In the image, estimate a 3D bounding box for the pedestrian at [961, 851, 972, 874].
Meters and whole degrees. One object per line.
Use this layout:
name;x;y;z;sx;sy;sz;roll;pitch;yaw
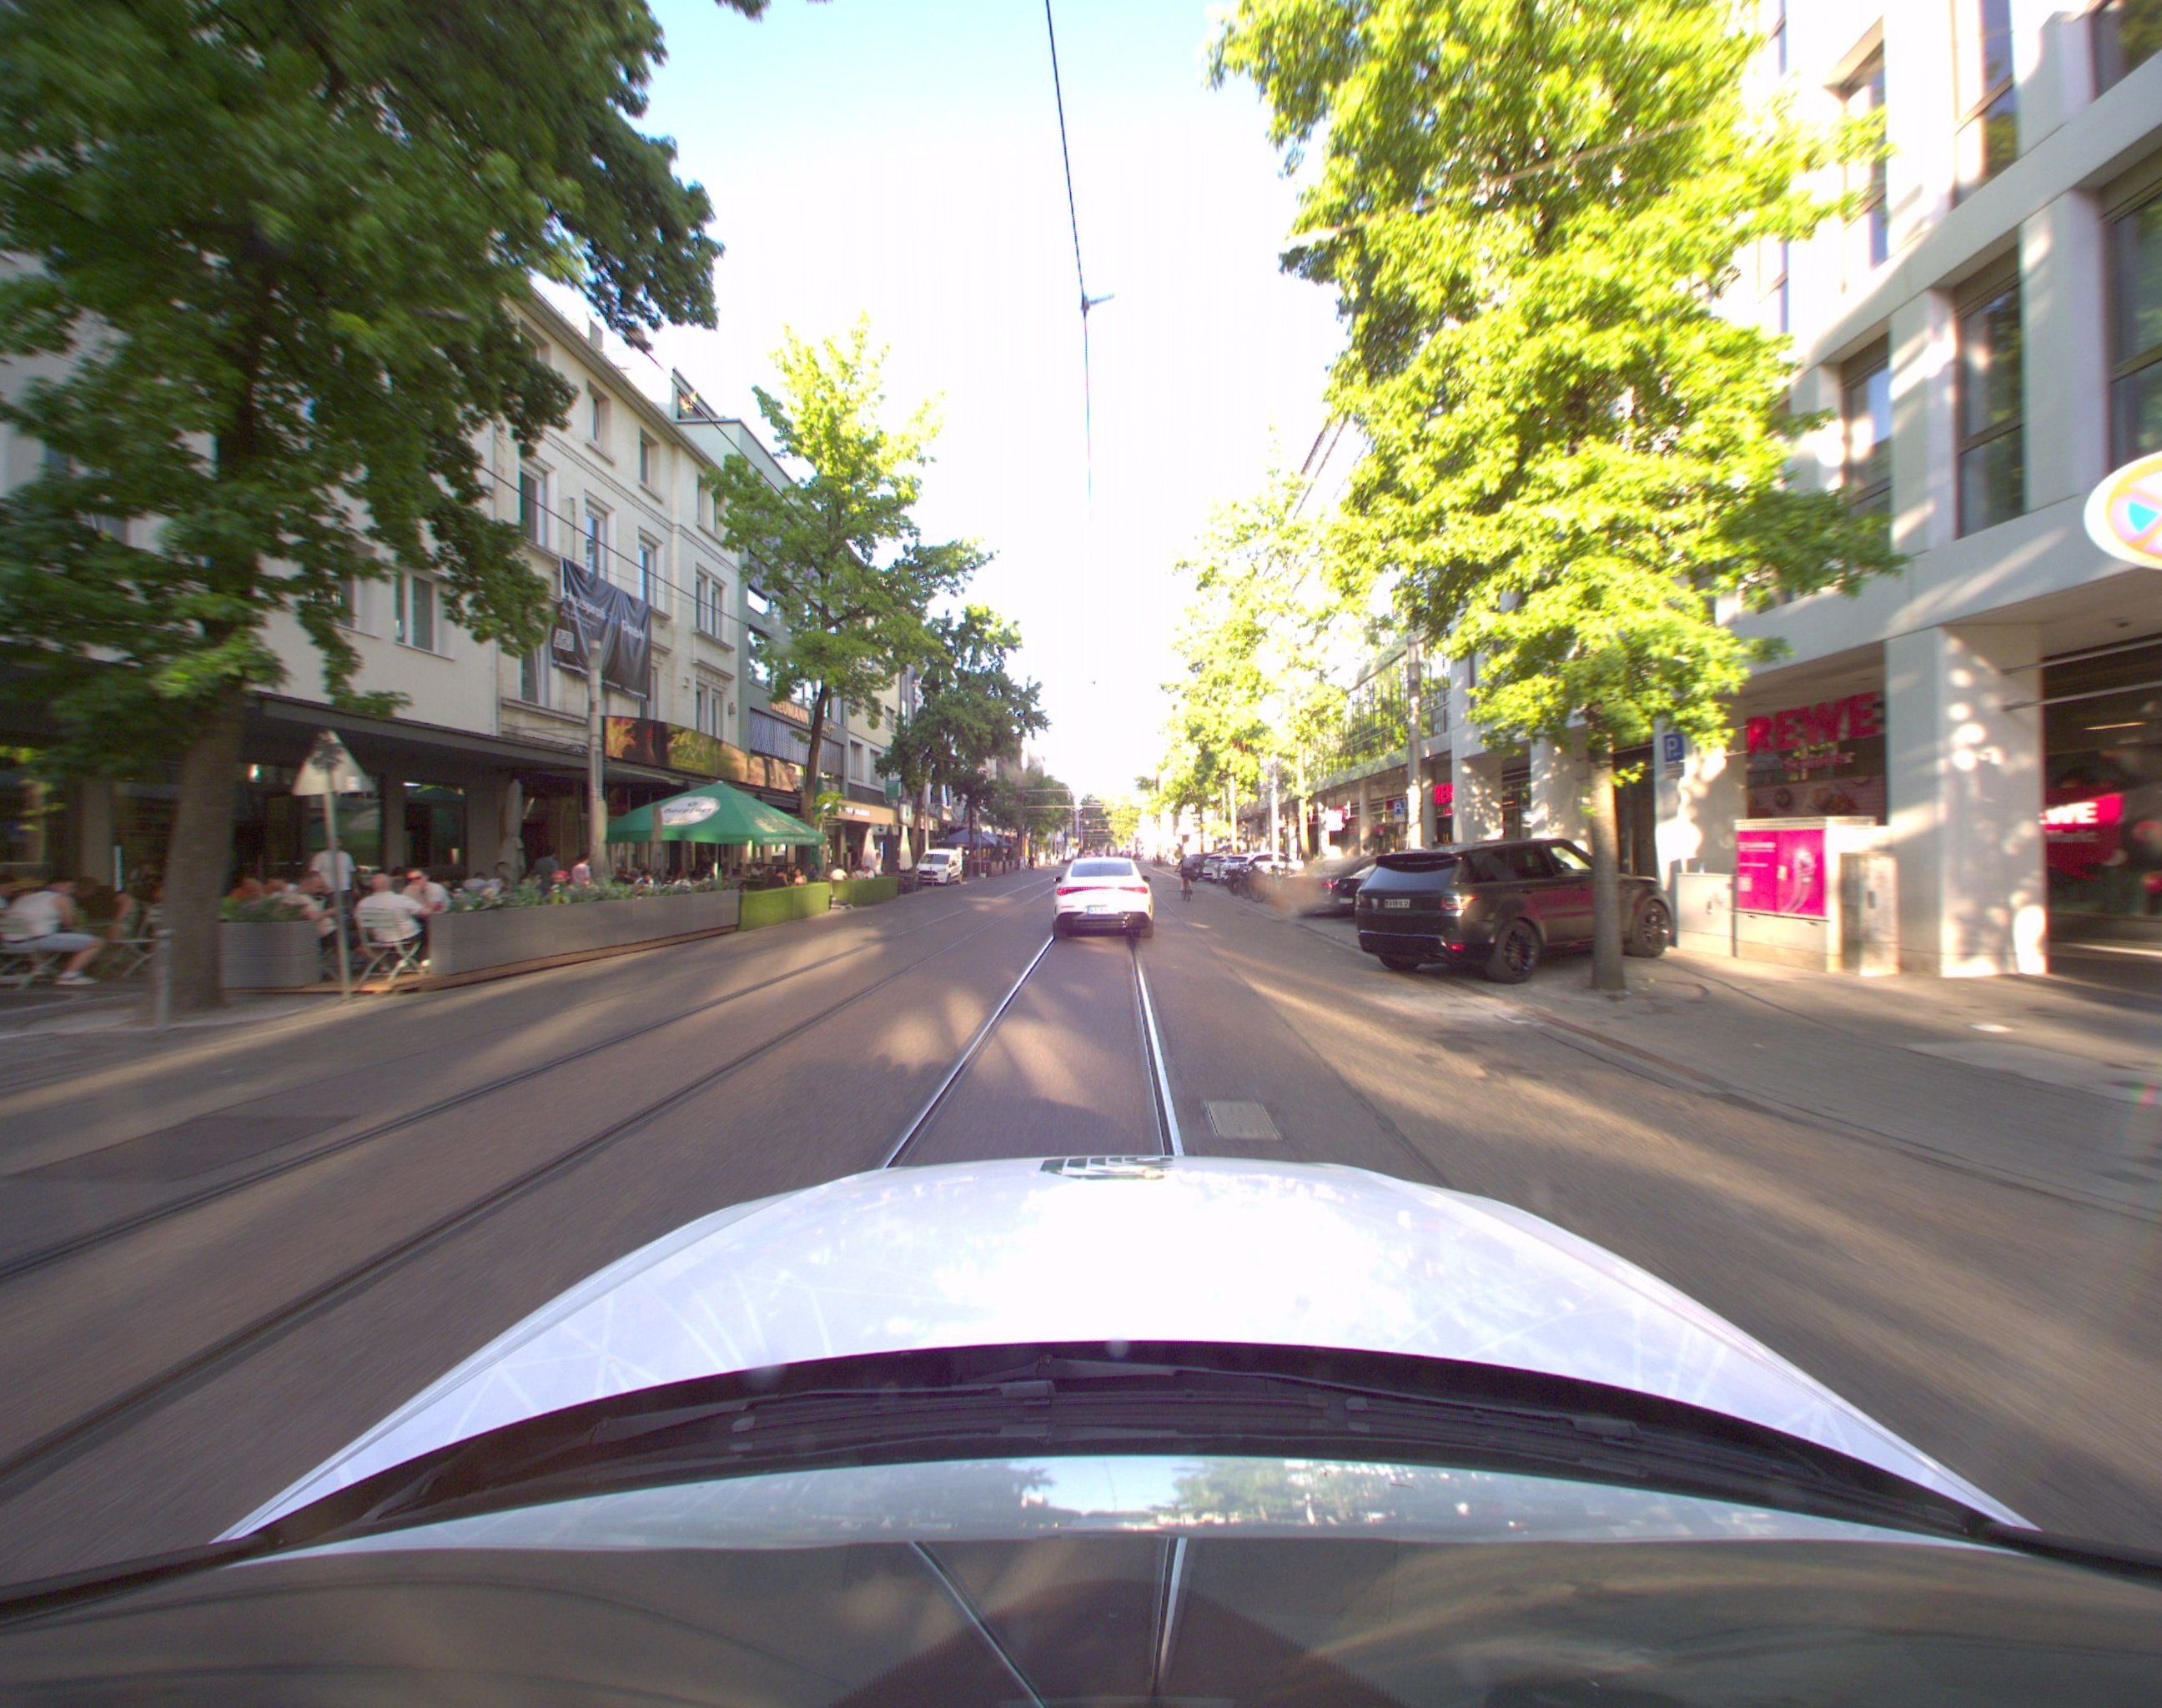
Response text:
pedestrian;-8.153;0.622;58.053;0.671;1.607;0.720;0;0;1

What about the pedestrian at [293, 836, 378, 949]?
pedestrian;-12.253;0.610;13.402;0.679;1.791;0.763;1;0;17

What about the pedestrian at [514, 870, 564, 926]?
pedestrian;-11.884;0.957;17.861;0.599;1.174;0.687;1;0;3

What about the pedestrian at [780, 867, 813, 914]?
pedestrian;-7.810;0.984;22.373;0.616;1.245;0.697;2;0;1

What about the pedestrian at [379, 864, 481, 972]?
pedestrian;-8.815;0.844;11.061;0.686;1.386;0.807;1;0;3

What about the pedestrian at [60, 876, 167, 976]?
pedestrian;-12.683;0.920;10.692;0.550;1.235;0.687;1;0;3

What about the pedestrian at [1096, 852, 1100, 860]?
pedestrian;3.524;0.417;166.254;0.797;1.782;0.849;1;0;1

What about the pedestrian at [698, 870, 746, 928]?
pedestrian;-8.183;1.007;18.580;0.704;1.259;0.773;1;0;4

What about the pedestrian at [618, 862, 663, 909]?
pedestrian;-12.043;0.858;22.272;0.733;1.231;0.788;2;0;1

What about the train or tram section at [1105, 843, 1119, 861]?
train or tram section;6.453;-0.407;167.269;2.684;3.516;12.552;-1;0;2

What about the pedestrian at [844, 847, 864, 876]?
pedestrian;-11.743;0.392;42.189;0.767;1.467;0.765;2;0;0

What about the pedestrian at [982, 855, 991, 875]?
pedestrian;-6.493;0.767;55.786;0.547;1.356;0.583;0;0;1

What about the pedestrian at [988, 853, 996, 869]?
pedestrian;-8.602;0.632;78.533;0.594;1.533;0.672;1;0;3

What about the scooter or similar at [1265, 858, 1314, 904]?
scooter or similar;6.307;0.819;24.641;1.311;1.276;0.559;-4;0;-30

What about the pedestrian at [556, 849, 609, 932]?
pedestrian;-10.332;0.738;16.895;0.616;1.670;0.697;1;0;1

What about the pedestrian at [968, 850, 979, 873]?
pedestrian;-7.924;0.549;59.863;0.715;1.724;0.675;0;0;1

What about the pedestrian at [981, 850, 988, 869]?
pedestrian;-9.332;0.522;78.646;0.594;1.745;0.672;1;0;3

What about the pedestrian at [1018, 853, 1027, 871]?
pedestrian;-5.179;0.707;71.972;0.620;1.509;0.834;1;0;3

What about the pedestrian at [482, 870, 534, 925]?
pedestrian;-12.553;0.942;17.856;0.599;1.158;0.687;1;0;3

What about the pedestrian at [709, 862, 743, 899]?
pedestrian;-11.694;0.878;26.829;0.697;1.168;0.788;2;0;1

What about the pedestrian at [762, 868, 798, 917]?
pedestrian;-7.916;0.999;21.438;0.616;1.245;0.697;2;0;1

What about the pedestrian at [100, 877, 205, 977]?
pedestrian;-12.130;0.932;10.660;0.550;1.235;0.687;1;0;3

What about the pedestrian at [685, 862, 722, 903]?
pedestrian;-11.756;0.869;25.387;0.733;1.214;0.788;2;0;1

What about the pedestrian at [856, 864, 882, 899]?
pedestrian;-7.698;0.991;29.614;0.654;1.193;0.798;2;0;1

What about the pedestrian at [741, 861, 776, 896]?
pedestrian;-11.619;0.884;29.368;0.750;1.188;1.065;2;0;2

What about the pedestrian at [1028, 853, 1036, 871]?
pedestrian;-4.370;0.700;72.501;0.620;1.550;0.853;1;0;3

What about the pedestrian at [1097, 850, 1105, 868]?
pedestrian;2.055;0.532;83.796;0.838;1.801;0.791;1;0;3

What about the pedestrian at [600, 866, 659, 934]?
pedestrian;-9.107;0.905;16.459;0.686;1.312;0.807;1;0;3

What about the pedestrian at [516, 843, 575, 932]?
pedestrian;-10.913;0.670;16.617;0.675;1.757;0.697;1;0;4

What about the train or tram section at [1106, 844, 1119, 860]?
train or tram section;7.004;-0.423;179.818;2.684;3.516;12.552;-1;0;2

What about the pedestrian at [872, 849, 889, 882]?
pedestrian;-9.913;0.558;40.282;0.645;1.574;0.700;2;0;2

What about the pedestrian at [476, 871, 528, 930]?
pedestrian;-11.900;0.952;16.759;0.550;1.161;0.687;1;0;3

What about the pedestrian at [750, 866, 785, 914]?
pedestrian;-8.614;0.981;22.389;0.616;1.245;0.697;2;0;1

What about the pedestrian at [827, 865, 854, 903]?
pedestrian;-8.498;1.066;28.812;0.654;1.293;0.798;2;0;1

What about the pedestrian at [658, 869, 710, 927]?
pedestrian;-9.077;0.987;18.654;0.704;1.259;0.870;1;0;4

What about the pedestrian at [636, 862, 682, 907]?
pedestrian;-12.099;0.853;23.364;0.774;1.237;0.945;2;0;1

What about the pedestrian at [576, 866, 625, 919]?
pedestrian;-11.564;0.914;19.638;0.667;1.242;0.799;1;0;1

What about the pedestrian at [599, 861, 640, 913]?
pedestrian;-12.086;0.862;21.346;0.616;1.309;0.697;2;0;1

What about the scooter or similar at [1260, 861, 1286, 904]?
scooter or similar;6.026;0.866;25.594;0.449;1.276;1.307;-5;0;1

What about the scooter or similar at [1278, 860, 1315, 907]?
scooter or similar;6.321;0.848;23.906;0.452;1.276;1.315;-5;-1;39

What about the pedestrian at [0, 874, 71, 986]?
pedestrian;-12.839;0.894;9.706;0.642;1.269;0.739;1;0;3

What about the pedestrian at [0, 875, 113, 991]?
pedestrian;-12.184;0.903;9.610;0.624;1.282;0.728;1;0;3

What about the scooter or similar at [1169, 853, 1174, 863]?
scooter or similar;11.224;0.525;101.138;0.491;1.277;0.658;-3;0;-9

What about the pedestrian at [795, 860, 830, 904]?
pedestrian;-8.527;0.870;25.894;0.751;1.343;0.873;2;0;1

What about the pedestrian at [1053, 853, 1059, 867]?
pedestrian;-3.346;0.802;109.614;0.784;1.801;0.845;-1;0;3

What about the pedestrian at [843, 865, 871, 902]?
pedestrian;-7.876;1.044;28.688;0.654;1.244;0.873;2;0;2

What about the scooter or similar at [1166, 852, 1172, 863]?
scooter or similar;10.966;0.458;101.721;0.527;1.277;0.658;-3;0;-9

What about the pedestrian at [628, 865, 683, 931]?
pedestrian;-9.037;0.929;17.334;0.704;1.347;0.782;1;0;4
